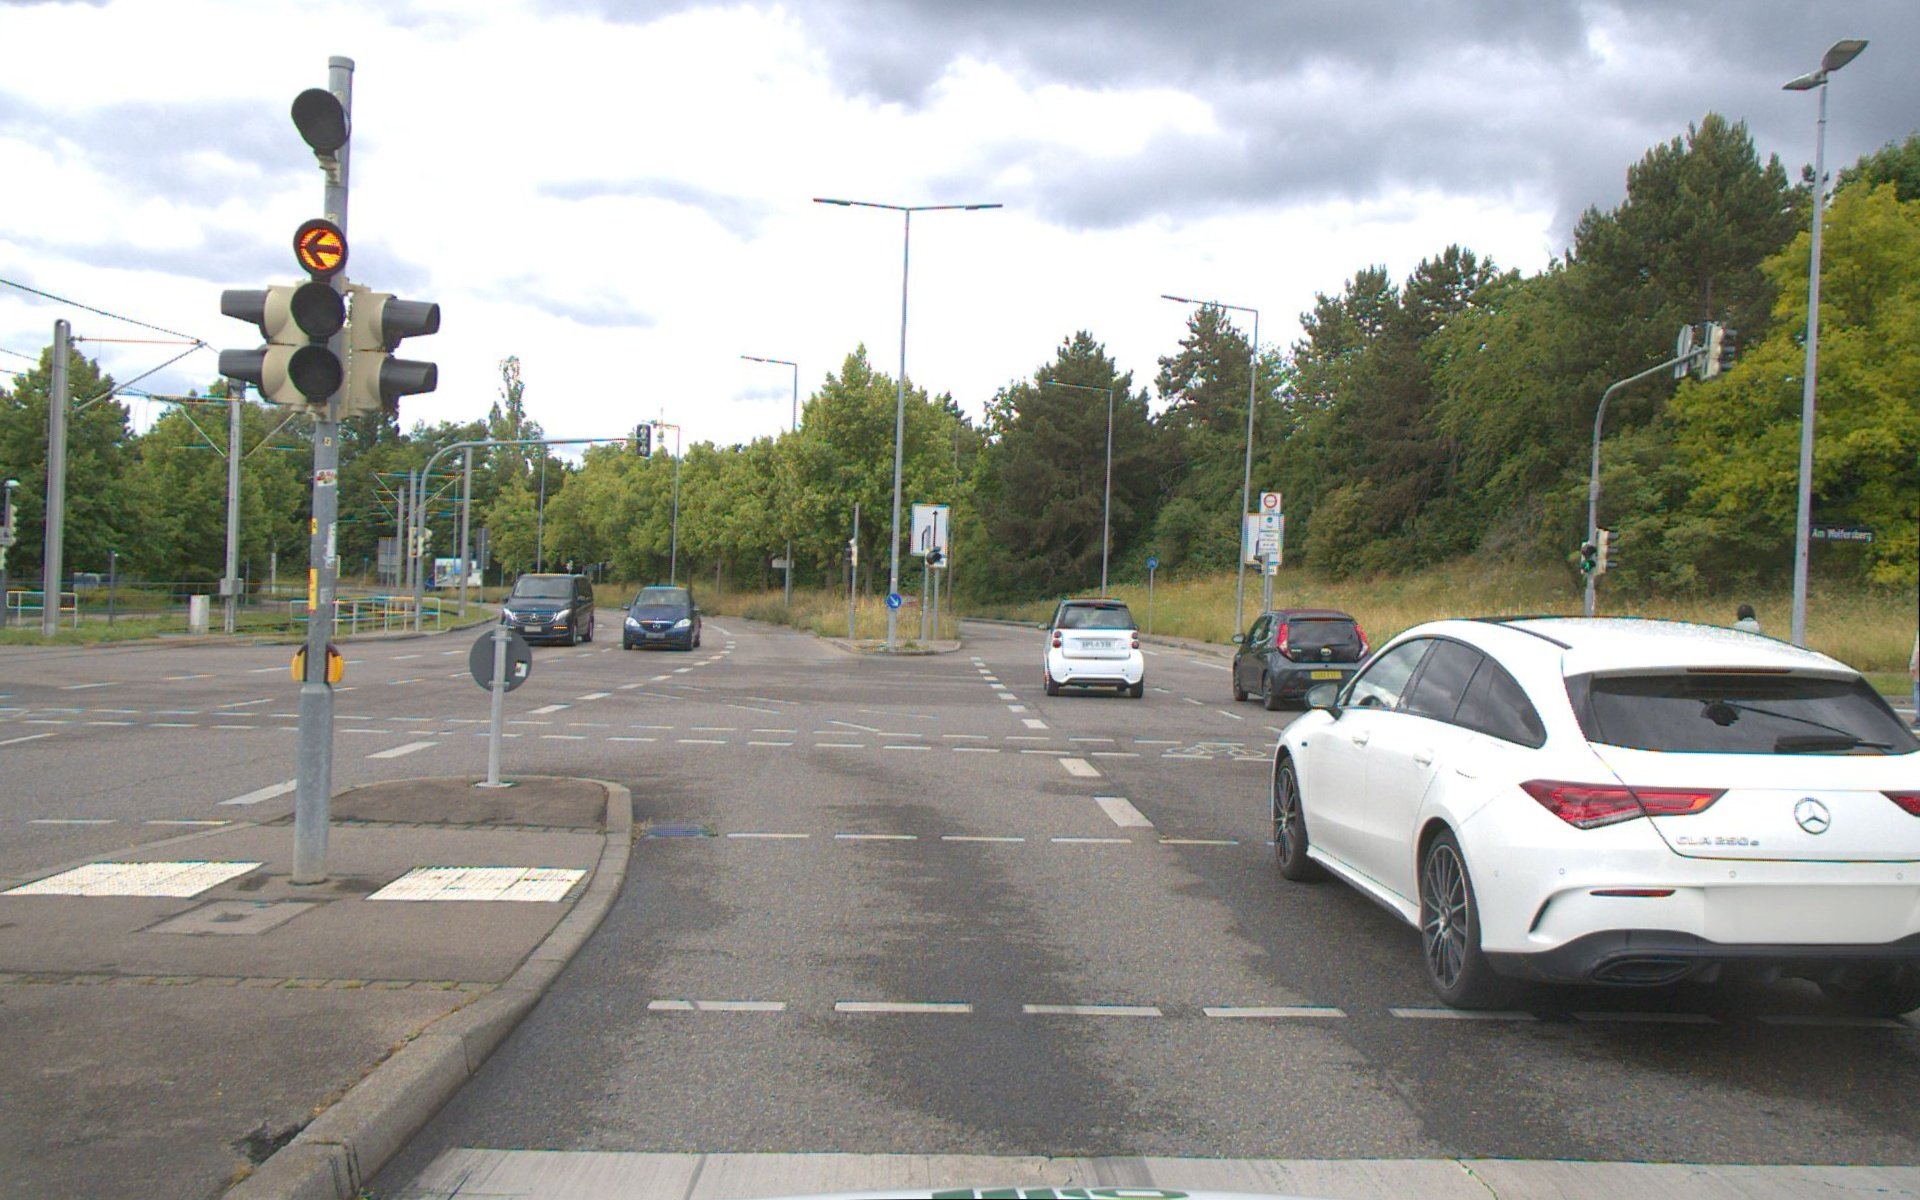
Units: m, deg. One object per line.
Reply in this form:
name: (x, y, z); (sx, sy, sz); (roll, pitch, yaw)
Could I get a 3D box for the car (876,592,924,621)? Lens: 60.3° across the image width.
car: (-3.486, 0.376, 95.695); (1.757, 1.631, 3.867); (1, 0, -18)

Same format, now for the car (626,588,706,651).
car: (-7.587, 0.498, 42.914); (1.702, 1.535, 3.656); (1, 0, -5)

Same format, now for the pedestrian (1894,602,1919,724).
pedestrian: (13.316, 0.857, 22.679); (0.630, 1.640, 0.714); (1, -1, 5)

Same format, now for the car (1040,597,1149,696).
car: (2.182, 0.739, 27.414); (1.559, 1.543, 2.766); (1, 0, 0)

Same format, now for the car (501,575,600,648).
car: (-10.988, 0.283, 44.728); (1.851, 1.844, 5.086); (0, 0, -5)

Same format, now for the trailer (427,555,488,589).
trailer: (-48.088, -2.675, 158.163); (5.973, 3.065, 2.741); (1, -1, 39)

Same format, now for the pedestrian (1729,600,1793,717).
pedestrian: (11.838, 0.856, 24.445); (0.630, 1.691, 0.714); (1, -1, 6)

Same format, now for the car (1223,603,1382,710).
car: (5.144, 0.804, 25.290); (1.580, 1.479, 3.881); (1, 0, -1)

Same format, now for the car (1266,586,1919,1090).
car: (2.730, 0.752, 7.361); (1.807, 1.533, 4.529); (1, 0, -1)
